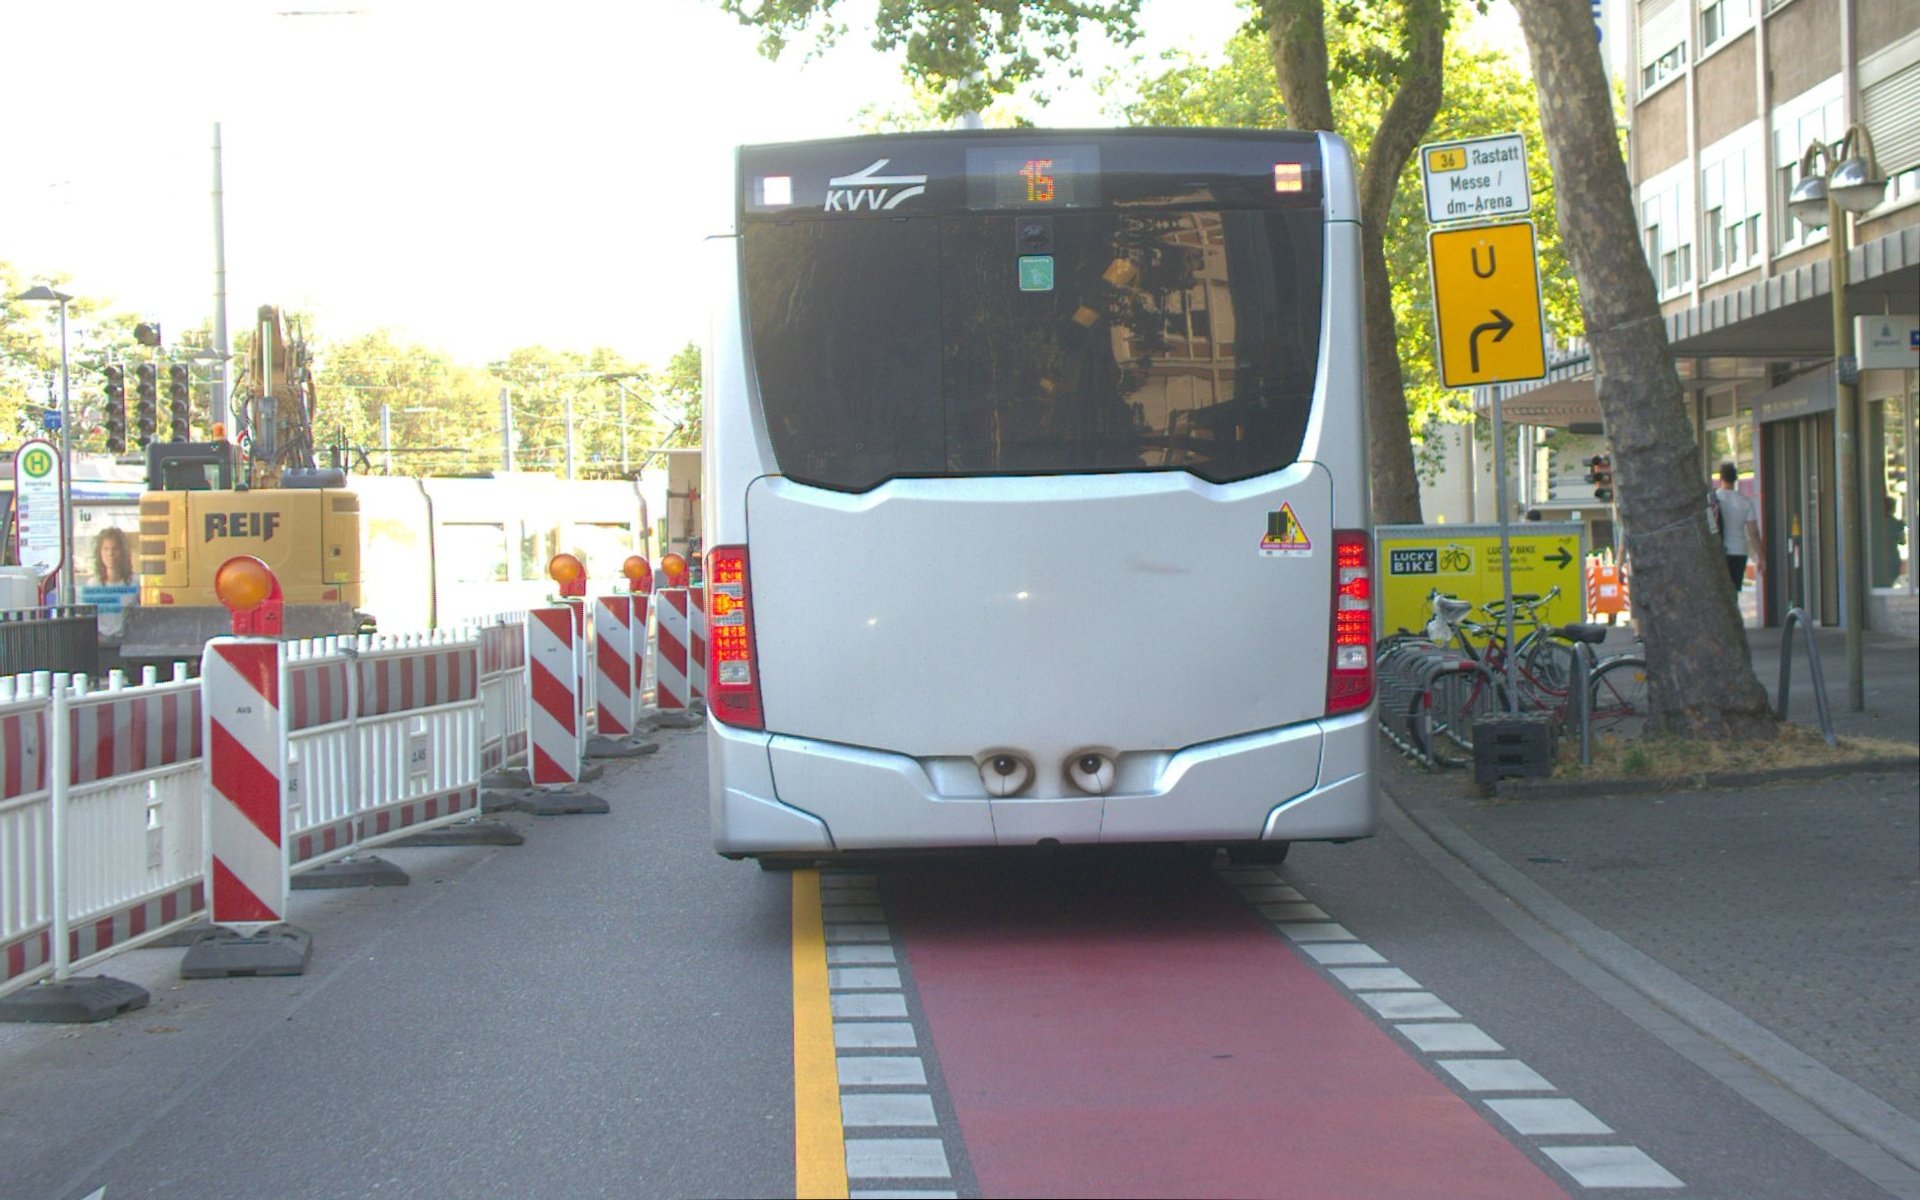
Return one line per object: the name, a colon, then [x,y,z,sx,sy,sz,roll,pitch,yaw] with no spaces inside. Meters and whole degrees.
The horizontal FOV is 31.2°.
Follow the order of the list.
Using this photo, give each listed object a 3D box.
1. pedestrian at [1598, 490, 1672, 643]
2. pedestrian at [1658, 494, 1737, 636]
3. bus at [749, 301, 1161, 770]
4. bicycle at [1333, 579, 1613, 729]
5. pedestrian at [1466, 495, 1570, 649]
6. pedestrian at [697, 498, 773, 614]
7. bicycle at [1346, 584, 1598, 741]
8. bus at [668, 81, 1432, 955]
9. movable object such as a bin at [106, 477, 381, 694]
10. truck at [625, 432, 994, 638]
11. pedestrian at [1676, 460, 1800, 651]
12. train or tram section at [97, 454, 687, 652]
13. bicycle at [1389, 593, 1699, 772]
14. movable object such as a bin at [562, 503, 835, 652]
pedestrian: [7.746,-0.384,39.458,0.583,1.702,0.679,-4,1,-1]
pedestrian: [8.448,-0.410,39.420,0.633,1.568,0.774,-4,1,-1]
bus: [-0.166,-0.493,27.602,2.708,3.096,8.980,-1,1,-2]
bicycle: [3.969,0.411,26.682,1.987,1.054,0.771,-3,0,-3]
pedestrian: [6.492,-0.330,40.053,0.899,1.704,1.071,-4,1,-1]
pedestrian: [-3.985,-0.790,60.937,0.937,2.006,1.000,-1,2,24]
bicycle: [3.753,0.451,25.277,1.713,1.054,0.644,-3,1,1]
bus: [0.163,-0.392,17.779,2.733,3.128,10.704,-1,1,-2]
movable object such as a bin: [-8.143,-0.197,39.588,2.642,2.310,4.903,-1,1,-7]
truck: [-2.605,-1.217,63.870,2.816,3.529,8.971,-1,1,26]
pedestrian: [7.998,-0.458,35.398,0.838,1.863,1.100,-6,1,-1]
train or tram section: [-10.765,-0.913,67.570,2.855,3.521,13.369,-1,0,35]
bicycle: [3.674,0.513,21.696,1.789,1.018,0.644,-3,1,-3]
movable object such as a bin: [-4.080,-0.405,54.661,1.996,2.249,5.201,1,1,26]
